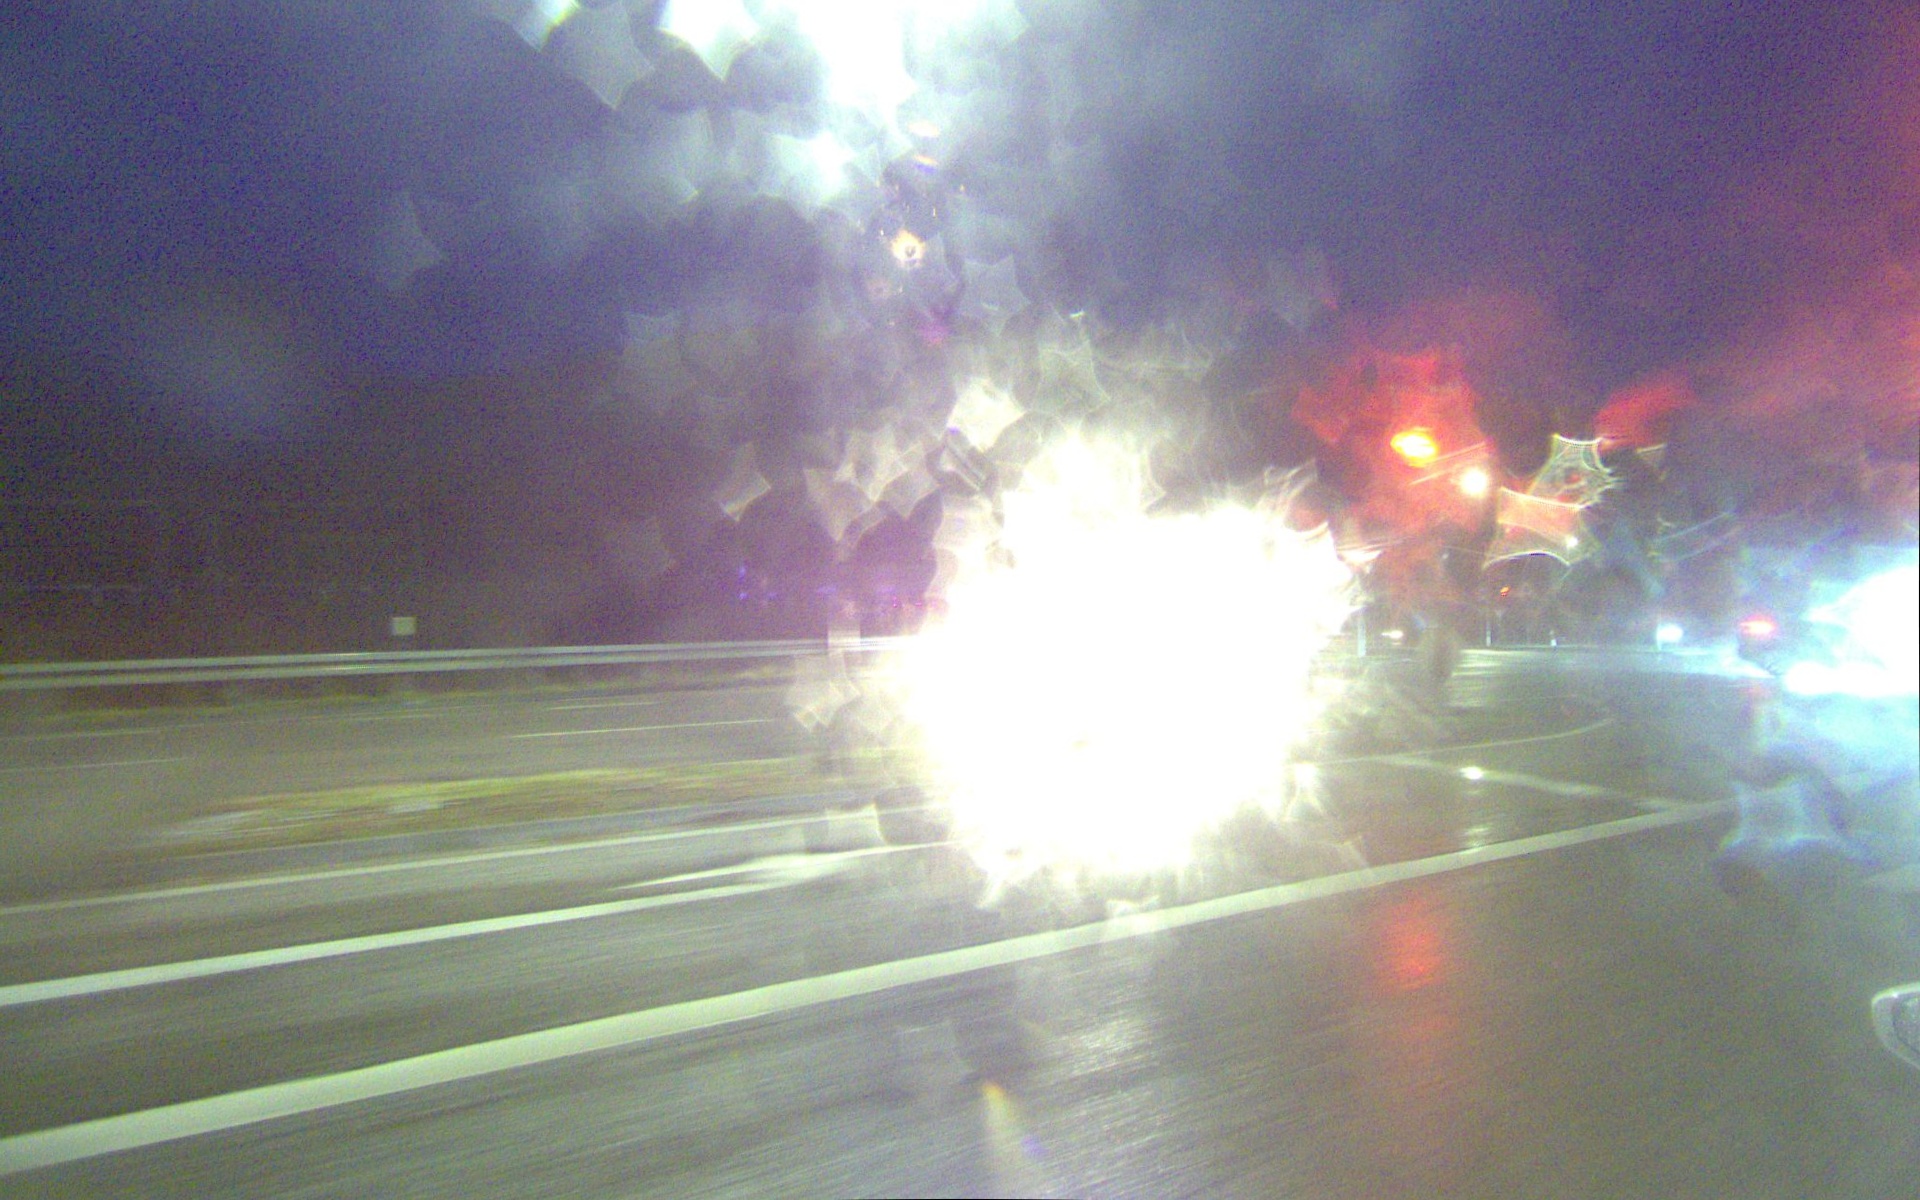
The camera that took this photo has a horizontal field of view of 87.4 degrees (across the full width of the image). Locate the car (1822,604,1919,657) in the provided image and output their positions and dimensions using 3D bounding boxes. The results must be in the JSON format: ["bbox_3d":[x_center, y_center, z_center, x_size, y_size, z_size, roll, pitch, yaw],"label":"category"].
[{"bbox_3d":[29.873,0.955,32.234,4.854,1.592,1.784,1,0,-29],"label":"car"}]

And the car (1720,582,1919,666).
[{"bbox_3d":[18.691,0.491,21.235,4.042,1.632,1.990,1,0,41],"label":"car"}]

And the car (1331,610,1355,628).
[{"bbox_3d":[34.766,1.715,91.211,1.626,1.518,4.377,-1,-3,16],"label":"car"}]

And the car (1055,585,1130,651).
[{"bbox_3d":[3.839,0.504,28.500,1.678,1.675,4.510,2,0,12],"label":"car"}]

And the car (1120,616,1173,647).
[{"bbox_3d":[9.887,1.653,53.690,1.718,1.523,4.891,2,0,-2],"label":"car"}]

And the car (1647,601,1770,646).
[{"bbox_3d":[31.672,0.955,42.632,3.924,1.856,1.720,0,0,25],"label":"car"}]
